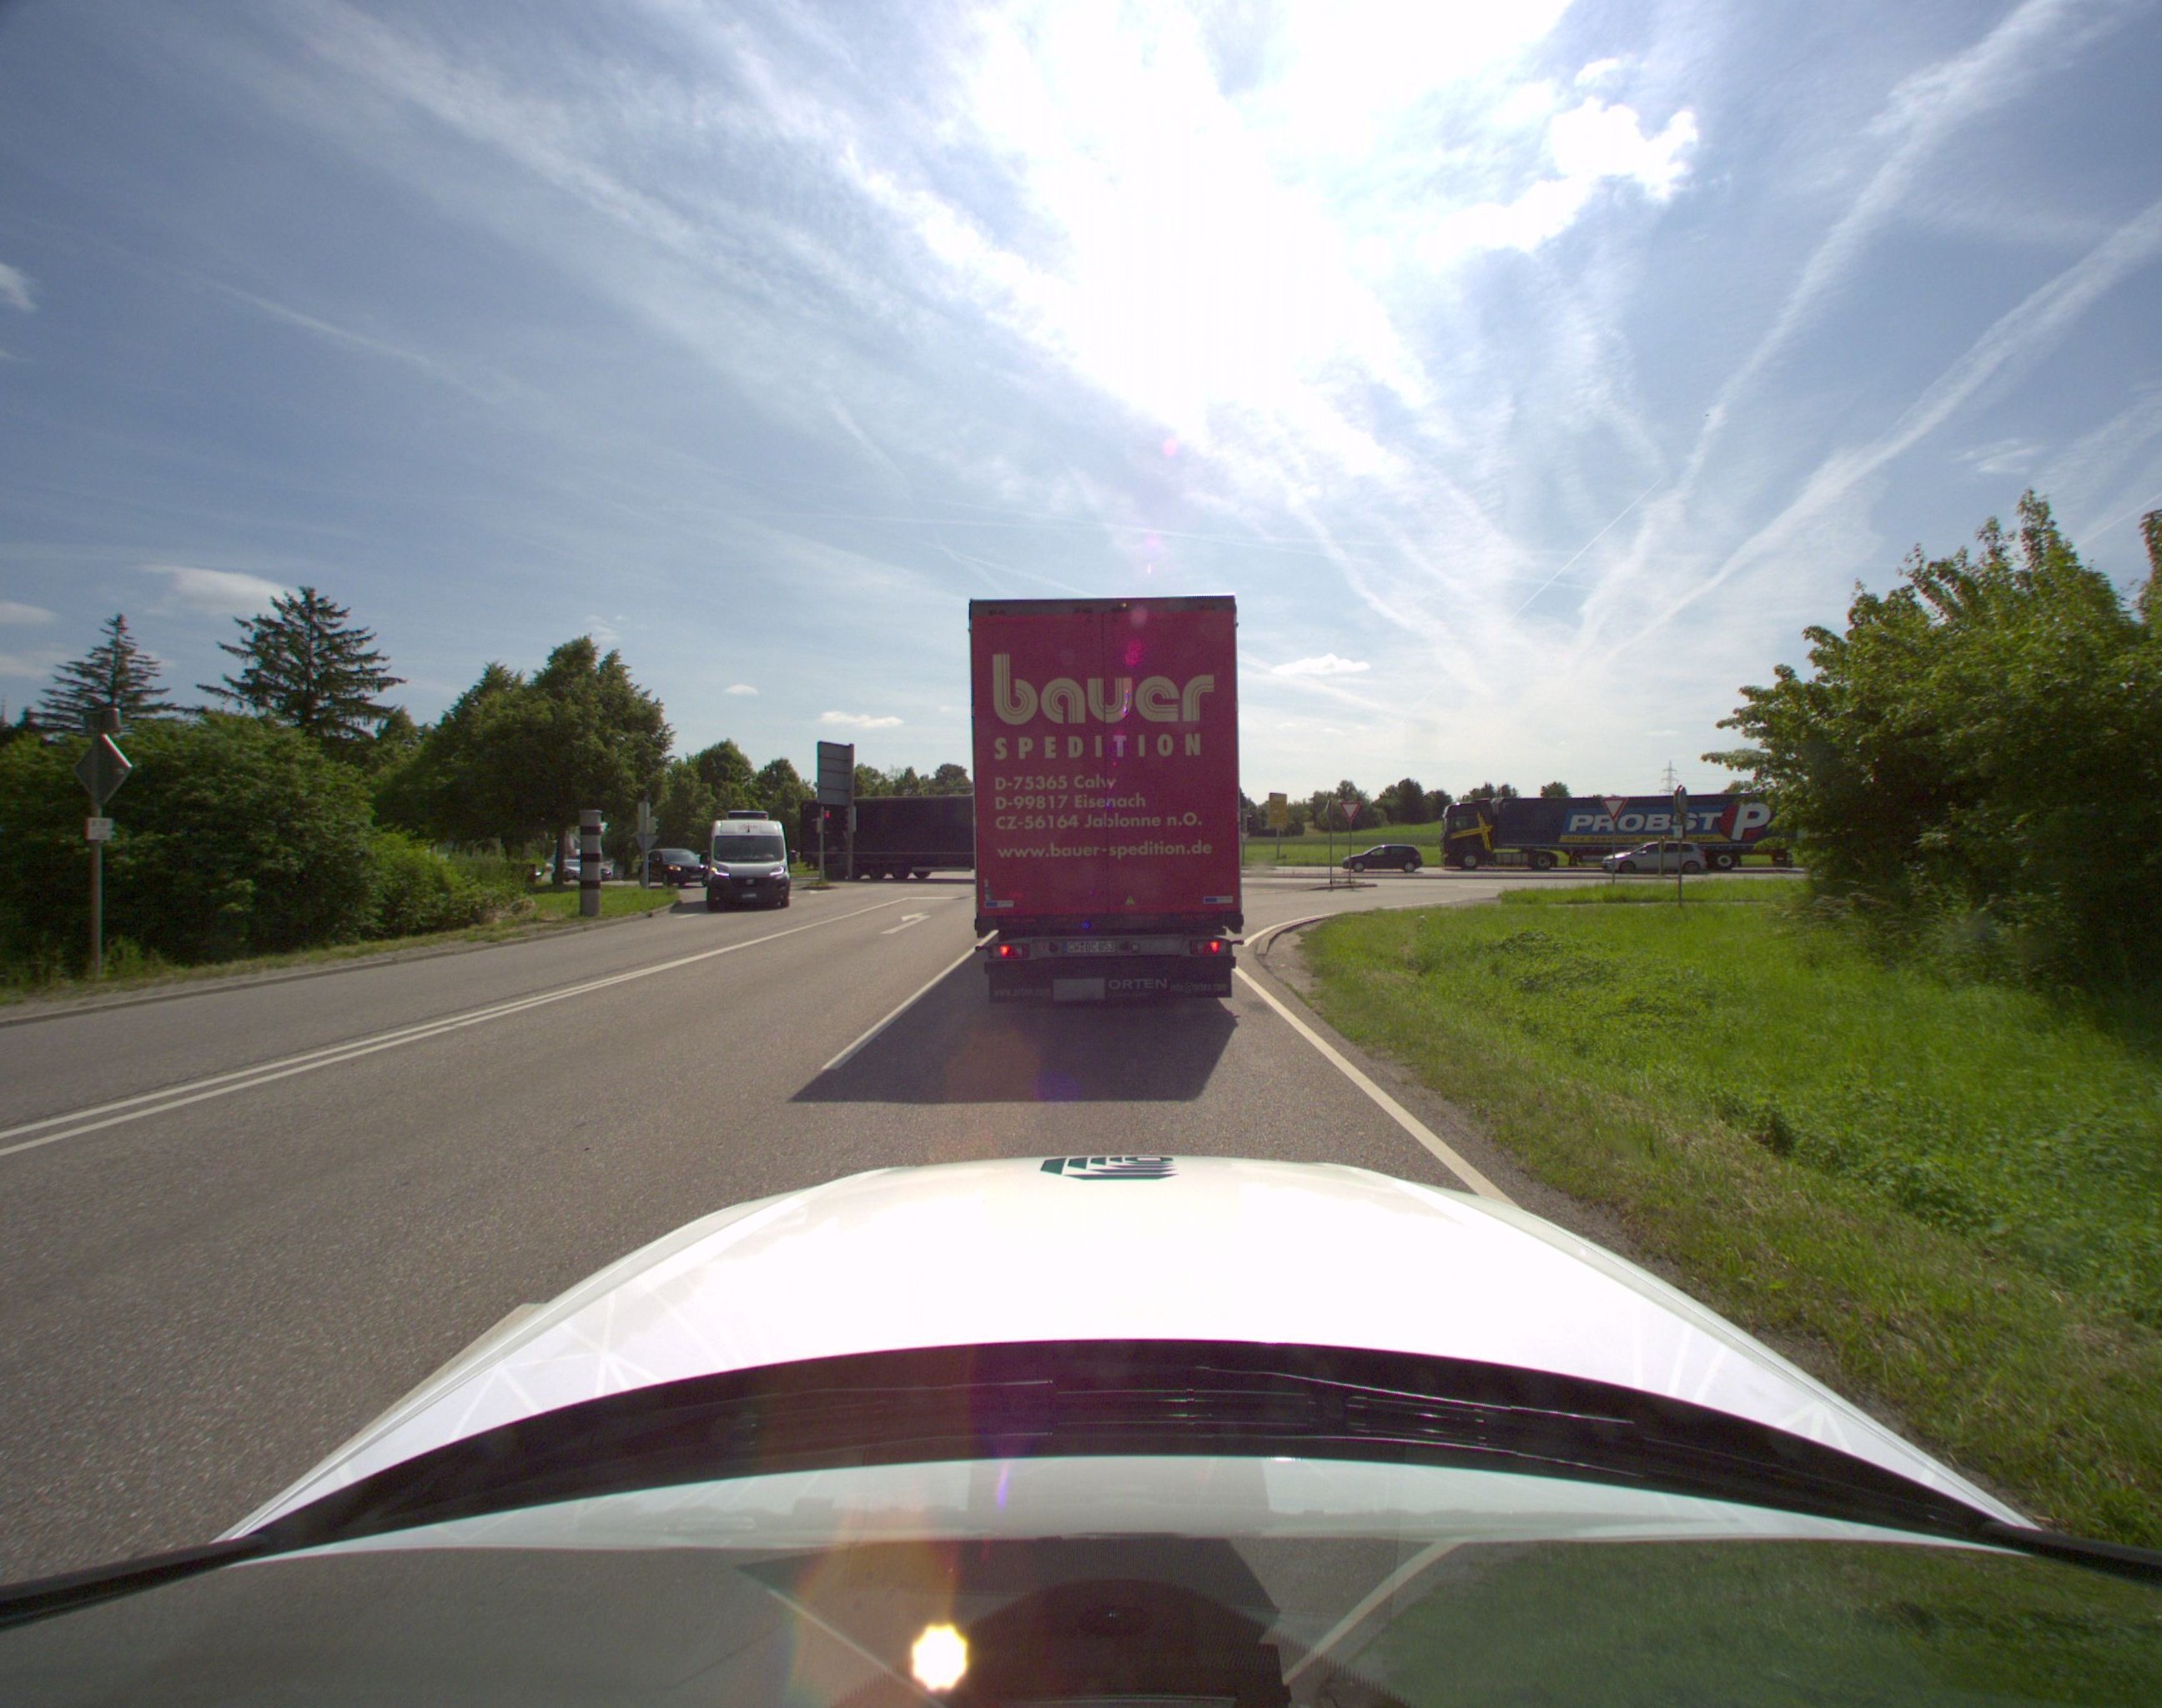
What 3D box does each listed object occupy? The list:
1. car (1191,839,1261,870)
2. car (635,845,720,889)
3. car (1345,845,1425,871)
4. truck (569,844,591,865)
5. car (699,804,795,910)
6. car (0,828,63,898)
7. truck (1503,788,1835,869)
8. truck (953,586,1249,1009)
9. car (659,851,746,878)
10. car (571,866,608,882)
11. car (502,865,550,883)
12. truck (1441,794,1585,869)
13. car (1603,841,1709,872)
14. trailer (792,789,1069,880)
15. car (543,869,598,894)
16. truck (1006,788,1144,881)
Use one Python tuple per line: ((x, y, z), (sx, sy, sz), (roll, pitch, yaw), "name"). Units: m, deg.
((8.252, 0.045, 46.486), (3.808, 1.633, 1.764), (-1, -1, 5), "car")
((-17.395, 0.560, 35.052), (4.058, 1.750, 1.884), (-1, -1, 41), "car")
((16.364, 0.223, 44.039), (3.956, 1.310, 1.774), (-1, -1, 17), "car")
((-92.670, 0.133, 150.668), (2.954, 3.798, 7.854), (-1, 0, -28), "truck")
((-9.827, 0.069, 23.655), (2.129, 2.654, 5.934), (-1, 0, -27), "car")
((-36.029, 0.279, 25.610), (4.601, 2.180, 1.985), (0, 0, -22), "car")
((30.746, -1.266, 43.734), (14.156, 3.979, 3.044), (0, 1, 22), "truck")
((0.418, -0.587, 15.936), (2.724, 3.925, 16.631), (-1, 0, 2), "truck")
((-20.635, 0.550, 44.420), (4.211, 1.461, 1.819), (0, 0, 20), "car")
((-45.769, 1.865, 75.867), (3.950, 1.429, 2.012), (-1, -1, 44), "car")
((-42.031, 1.500, 61.618), (4.225, 1.305, 1.753), (0, 0, 37), "car")
((24.310, -1.234, 46.222), (6.872, 3.993, 3.043), (0, 1, 20), "truck")
((28.133, 0.139, 39.978), (3.961, 1.491, 1.545), (-1, -1, 21), "car")
((-7.488, -0.892, 39.804), (13.572, 4.061, 2.812), (0, 1, 19), "trailer")
((-32.798, 1.760, 52.307), (3.996, 1.416, 1.806), (0, 1, 40), "car")
((-0.210, -0.862, 37.666), (5.783, 4.061, 2.809), (0, 1, 14), "truck")
